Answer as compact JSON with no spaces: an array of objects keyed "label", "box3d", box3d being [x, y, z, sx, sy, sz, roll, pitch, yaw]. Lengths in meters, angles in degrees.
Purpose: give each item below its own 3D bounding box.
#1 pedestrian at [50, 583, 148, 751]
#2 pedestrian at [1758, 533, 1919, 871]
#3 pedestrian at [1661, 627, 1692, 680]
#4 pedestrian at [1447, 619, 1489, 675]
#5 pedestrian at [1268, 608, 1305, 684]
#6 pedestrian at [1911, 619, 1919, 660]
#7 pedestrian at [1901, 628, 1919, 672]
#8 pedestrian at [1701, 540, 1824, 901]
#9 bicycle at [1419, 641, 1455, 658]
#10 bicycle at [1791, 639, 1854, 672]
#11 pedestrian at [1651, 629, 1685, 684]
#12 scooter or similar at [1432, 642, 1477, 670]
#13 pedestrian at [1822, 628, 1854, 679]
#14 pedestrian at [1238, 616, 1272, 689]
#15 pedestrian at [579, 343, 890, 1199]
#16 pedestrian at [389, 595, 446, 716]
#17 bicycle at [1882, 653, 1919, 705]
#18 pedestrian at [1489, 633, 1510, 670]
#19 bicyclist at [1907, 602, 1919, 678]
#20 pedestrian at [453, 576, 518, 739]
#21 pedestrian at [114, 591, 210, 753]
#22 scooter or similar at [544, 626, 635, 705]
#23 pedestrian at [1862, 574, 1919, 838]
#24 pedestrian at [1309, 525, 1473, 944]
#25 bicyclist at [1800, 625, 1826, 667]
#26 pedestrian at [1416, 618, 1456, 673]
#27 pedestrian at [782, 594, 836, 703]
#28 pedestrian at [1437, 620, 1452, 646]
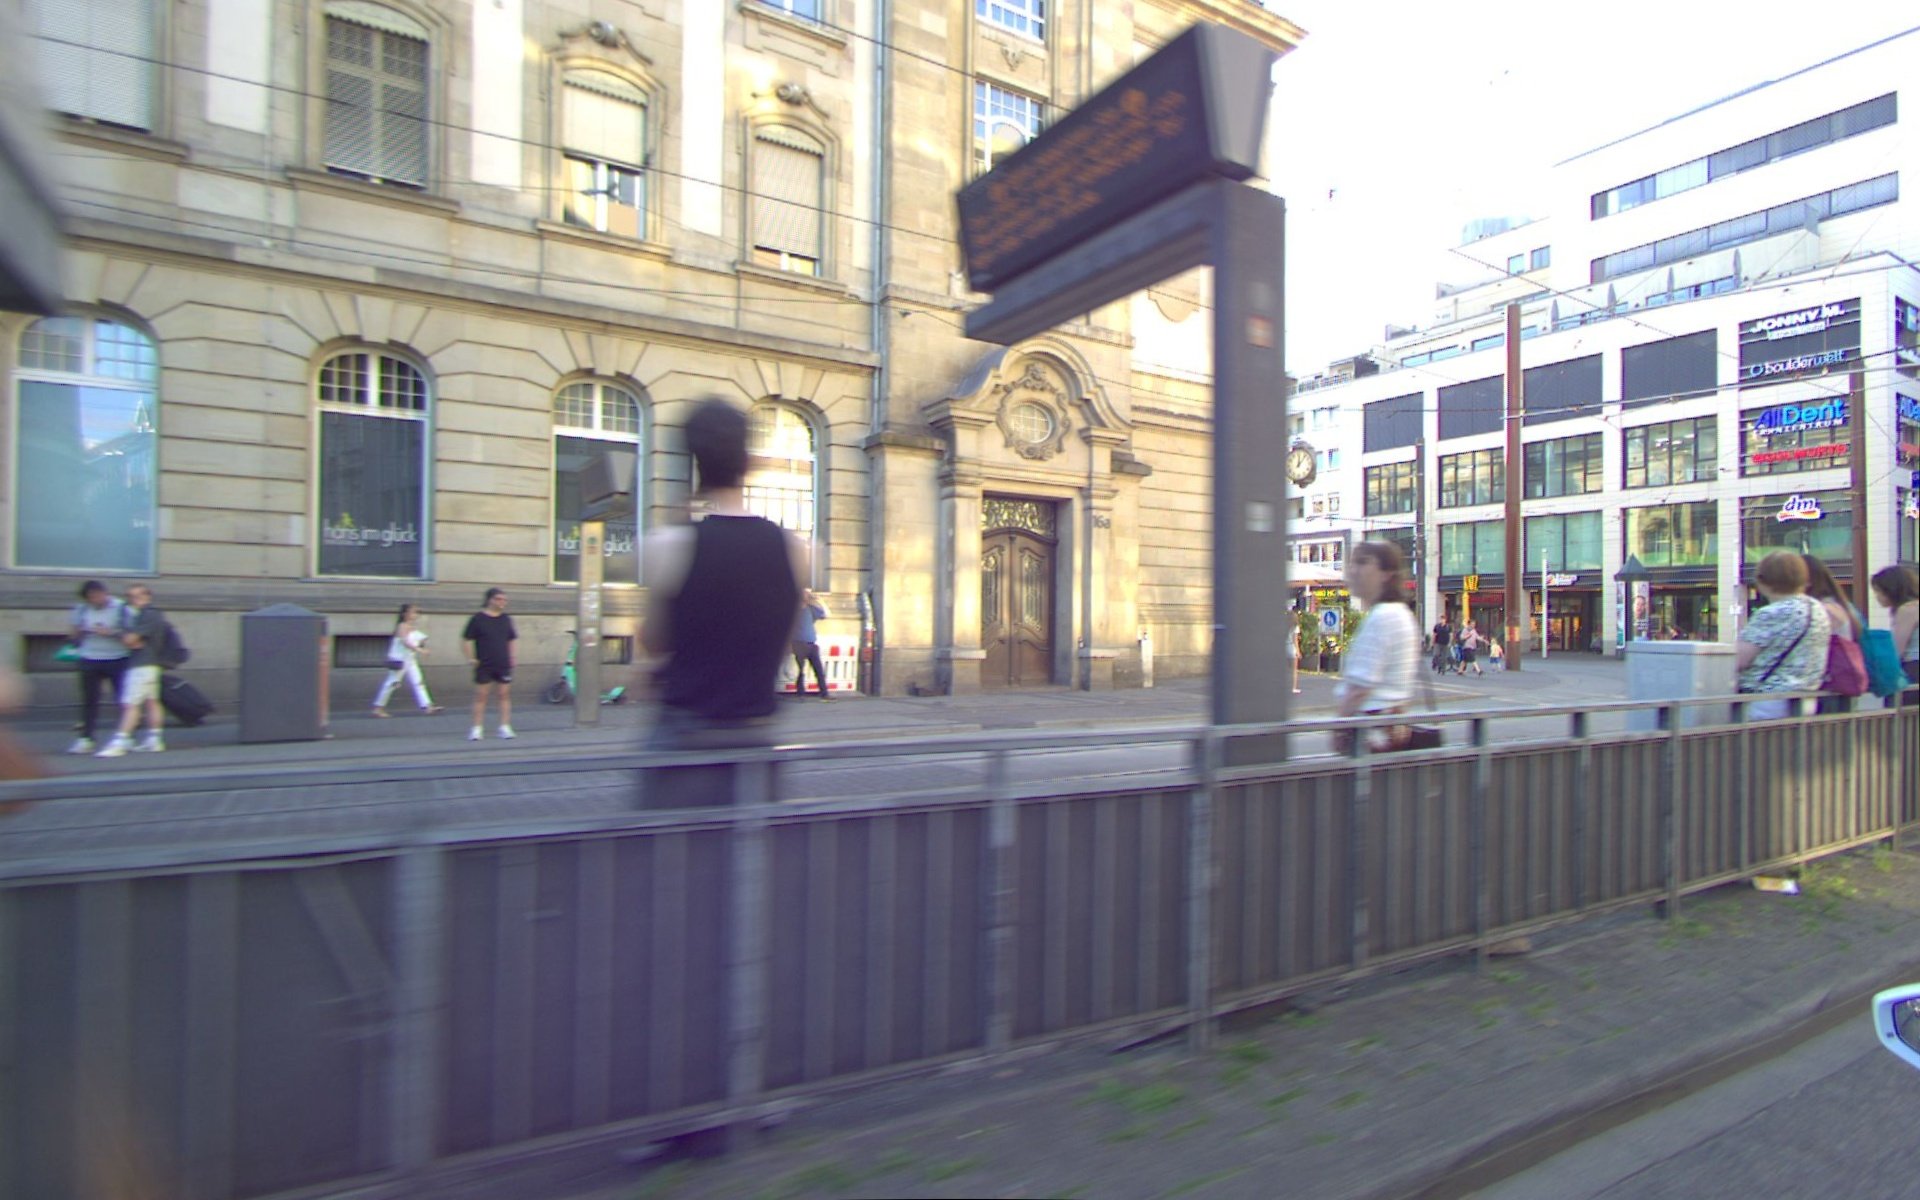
[{"label":"pedestrian","box3d":[-8.891,0.678,10.395,0.630,1.667,0.515,2,-1,-28]},{"label":"pedestrian","box3d":[5.007,0.545,5.692,0.587,1.791,0.537,1,0,-27]},{"label":"pedestrian","box3d":[22.520,1.664,31.576,0.759,1.635,0.665,0,-1,33]},{"label":"pedestrian","box3d":[15.148,1.393,29.949,0.788,1.650,0.834,1,0,-5]},{"label":"pedestrian","box3d":[6.778,0.942,20.871,0.496,1.545,0.523,1,-1,-28]},{"label":"pedestrian","box3d":[44.742,1.834,46.611,0.804,1.879,0.572,1,0,-20]},{"label":"pedestrian","box3d":[36.999,1.926,39.006,0.643,1.696,0.526,1,-1,-31]},{"label":"pedestrian","box3d":[4.279,0.613,5.357,0.539,1.819,0.339,1,0,-34]},{"label":"bicycle","box3d":[28.546,2.961,60.135,1.888,0.999,0.451,2,0,3]},{"label":"bicycle","box3d":[30.148,1.945,35.105,1.987,1.112,0.573,2,0,-13]},{"label":"pedestrian","box3d":[21.690,1.711,30.775,0.809,1.635,0.691,0,-1,33]},{"label":"scooter or similar","box3d":[16.940,1.902,34.437,0.880,0.916,1.088,1,-1,-30]},{"label":"pedestrian","box3d":[29.862,1.805,34.172,0.523,1.696,0.647,1,-1,-24]},{"label":"pedestrian","box3d":[6.351,1.119,21.639,0.497,1.545,0.514,1,-1,-37]},{"label":"pedestrian","box3d":[-0.546,0.365,2.430,0.588,1.791,0.409,1,0,-34]},{"label":"pedestrian","box3d":[-7.600,0.756,14.058,0.624,1.636,0.695,1,0,-33]},{"label":"bicycle","box3d":[20.900,1.701,21.494,0.620,1.118,1.618,1,-2,-20]},{"label":"pedestrian","box3d":[18.548,1.772,34.541,0.476,1.259,0.411,1,-1,-9]},{"label":"bicyclist","box3d":[20.926,0.860,21.499,0.601,1.614,0.788,1,-1,-21]},{"label":"pedestrian","box3d":[-5.405,0.637,11.454,0.556,1.800,0.463,1,0,-40]},{"label":"pedestrian","box3d":[-8.102,0.715,10.219,0.630,1.590,0.515,2,-1,-28]},{"label":"scooter or similar","box3d":[-5.894,1.035,15.977,1.278,1.197,0.484,2,0,-30]},{"label":"pedestrian","box3d":[6.204,0.673,6.540,0.497,1.664,0.354,1,0,-34]},{"label":"pedestrian","box3d":[1.849,0.540,4.309,0.544,1.664,0.383,1,0,-34]},{"label":"bicyclist","box3d":[29.763,1.591,35.036,0.554,1.446,0.421,1,0,-12]},{"label":"pedestrian","box3d":[14.708,1.392,31.052,0.678,1.650,0.970,1,-1,-9]},{"label":"pedestrian","box3d":[-2.583,0.815,17.130,0.699,1.800,0.616,1,0,-35]},{"label":"pedestrian","box3d":[33.014,2.252,68.400,0.568,1.702,0.670,1,0,-31]}]
